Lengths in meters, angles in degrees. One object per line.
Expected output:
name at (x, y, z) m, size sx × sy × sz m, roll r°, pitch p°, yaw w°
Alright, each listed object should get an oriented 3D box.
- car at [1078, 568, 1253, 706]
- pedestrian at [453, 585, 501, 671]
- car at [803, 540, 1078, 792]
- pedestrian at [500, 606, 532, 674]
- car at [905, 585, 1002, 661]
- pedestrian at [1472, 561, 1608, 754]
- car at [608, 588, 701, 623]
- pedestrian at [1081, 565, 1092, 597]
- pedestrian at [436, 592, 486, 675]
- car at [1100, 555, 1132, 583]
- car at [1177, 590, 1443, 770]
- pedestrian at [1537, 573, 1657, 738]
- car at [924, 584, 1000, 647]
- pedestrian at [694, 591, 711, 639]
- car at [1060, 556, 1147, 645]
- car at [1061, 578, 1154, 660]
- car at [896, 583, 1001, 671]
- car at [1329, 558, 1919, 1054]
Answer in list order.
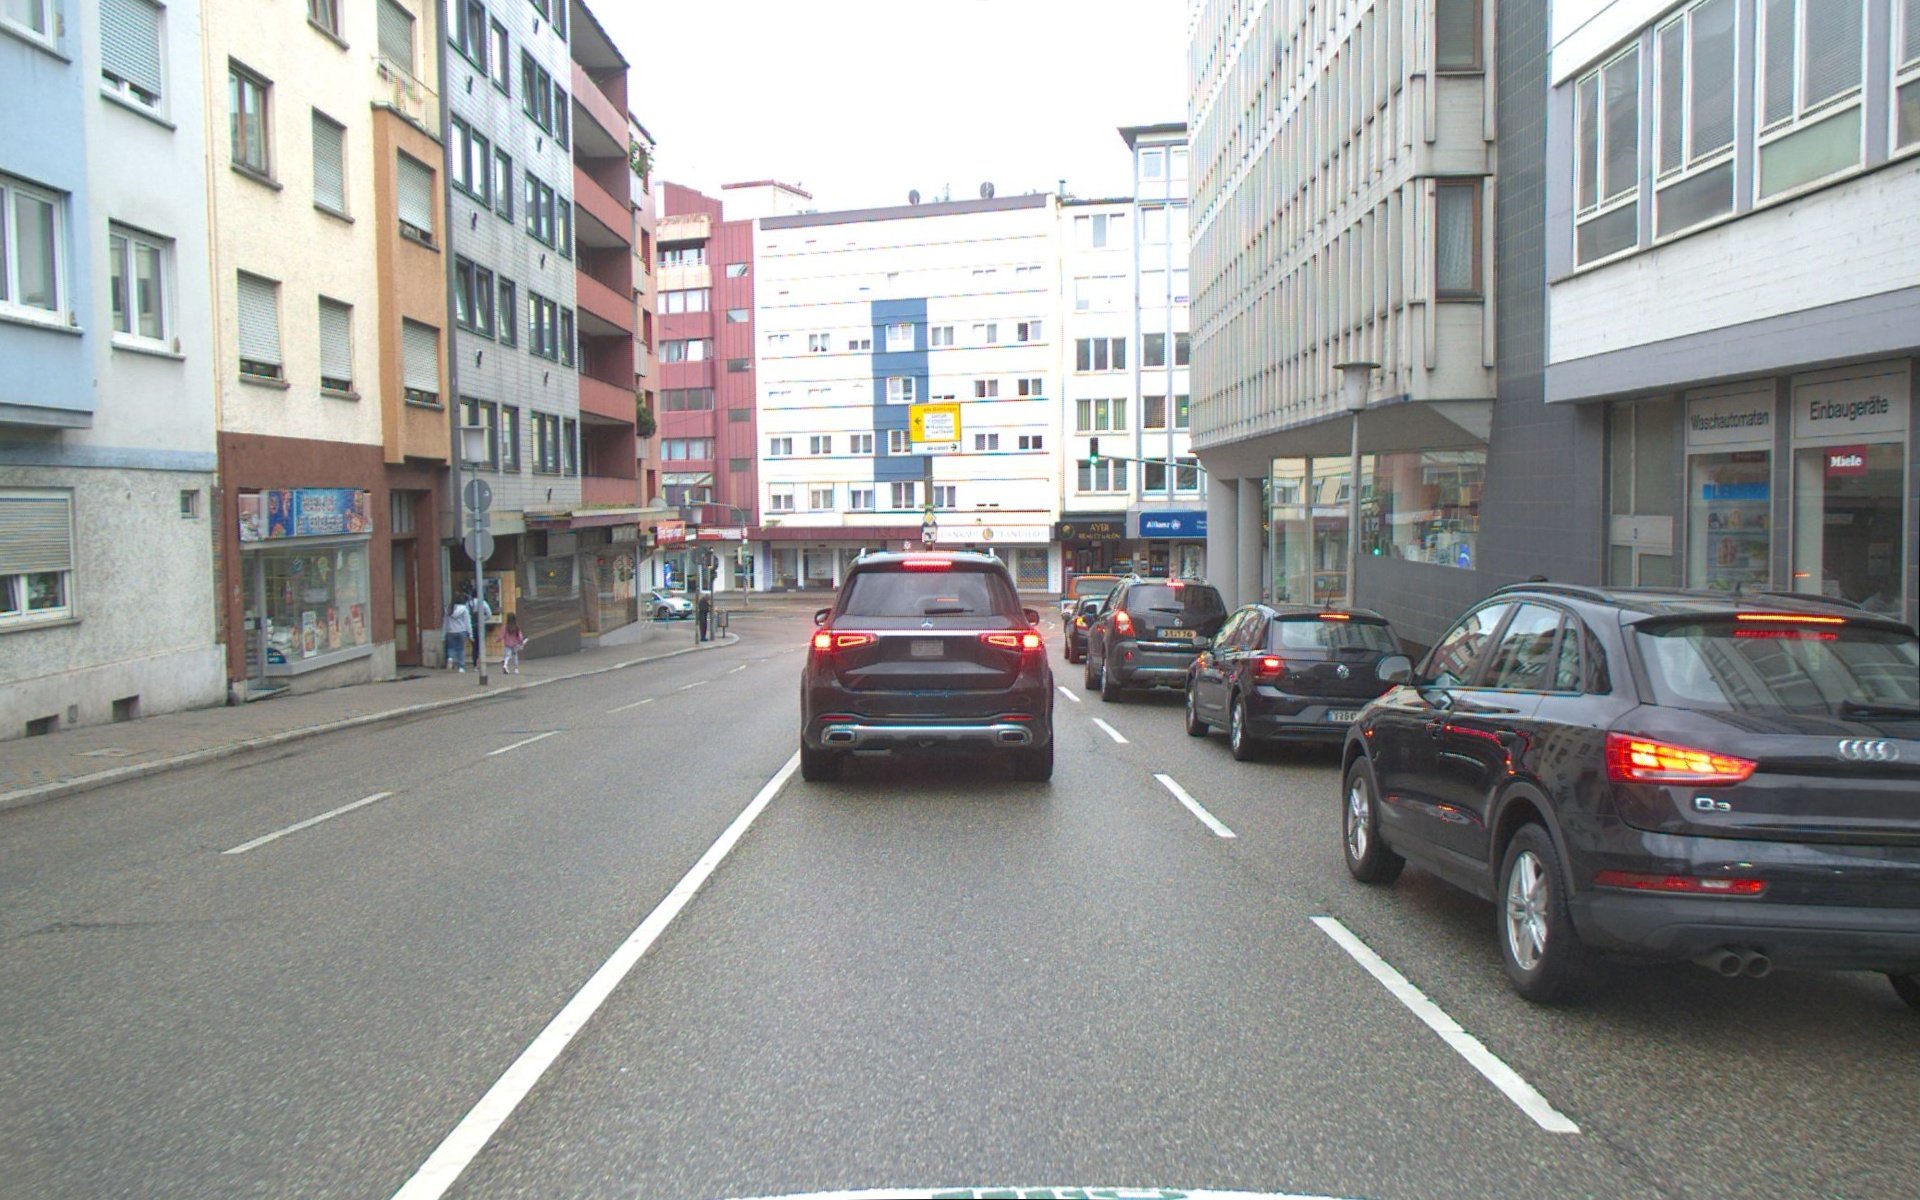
car at (2.854, 0.469, 23.946) m, size 1.859 × 1.724 × 4.505 m, roll 2°, pitch 0°, yaw -1°
pedestrian at (-9.848, 0.565, 33.733) m, size 0.812 × 1.719 × 0.722 m, roll 1°, pitch 0°, yaw -9°
car at (-0.196, 0.465, 14.422) m, size 1.997 × 1.830 × 4.661 m, roll 1°, pitch 0°, yaw -1°
pedestrian at (-8.986, 0.797, 33.476) m, size 0.523 × 1.346 × 0.722 m, roll 1°, pitch 0°, yaw -9°
car at (-0.130, 0.454, 35.946) m, size 1.953 × 1.512 × 4.237 m, roll -1°, pitch 0°, yaw 0°
pedestrian at (5.519, 0.527, 15.802) m, size 0.768 × 1.735 × 1.120 m, roll -3°, pitch 0°, yaw -3°
car at (-14.867, 0.265, 80.463) m, size 4.073 × 1.620 × 1.742 m, roll 1°, pitch 1°, yaw 15°
pedestrian at (7.083, -1.069, 92.328) m, size 0.552 × 1.717 × 0.757 m, roll -1°, pitch 6°, yaw 6°
pedestrian at (-9.774, 0.640, 32.408) m, size 0.812 × 1.588 × 0.722 m, roll 1°, pitch 0°, yaw -9°
car at (9.934, -1.950, 105.269) m, size 1.759 × 1.699 × 4.004 m, roll -1°, pitch 0°, yaw 9°
car at (3.329, 0.688, 16.474) m, size 1.654 × 1.503 × 3.999 m, roll 2°, pitch 0°, yaw -2°
pedestrian at (6.399, 0.541, 16.658) m, size 0.750 × 1.578 × 0.890 m, roll -3°, pitch 0°, yaw -3°
car at (0.059, 0.446, 44.240) m, size 1.885 × 1.542 × 4.662 m, roll 2°, pitch -1°, yaw 0°
pedestrian at (-9.341, 0.546, 59.989) m, size 0.543 × 1.727 × 0.623 m, roll -1°, pitch 0°, yaw -4°
car at (3.886, 0.017, 45.258) m, size 2.195 × 2.267 × 5.431 m, roll 1°, pitch 0°, yaw 4°
car at (3.212, 0.415, 36.795) m, size 1.785 × 1.687 × 4.496 m, roll 1°, pitch 0°, yaw 2°
car at (-0.256, 0.455, 31.300) m, size 1.835 × 1.521 × 4.399 m, roll 1°, pitch 0°, yaw -1°
car at (3.060, 0.685, 7.504) m, size 1.786 × 1.587 × 4.201 m, roll 2°, pitch 0°, yaw 0°
